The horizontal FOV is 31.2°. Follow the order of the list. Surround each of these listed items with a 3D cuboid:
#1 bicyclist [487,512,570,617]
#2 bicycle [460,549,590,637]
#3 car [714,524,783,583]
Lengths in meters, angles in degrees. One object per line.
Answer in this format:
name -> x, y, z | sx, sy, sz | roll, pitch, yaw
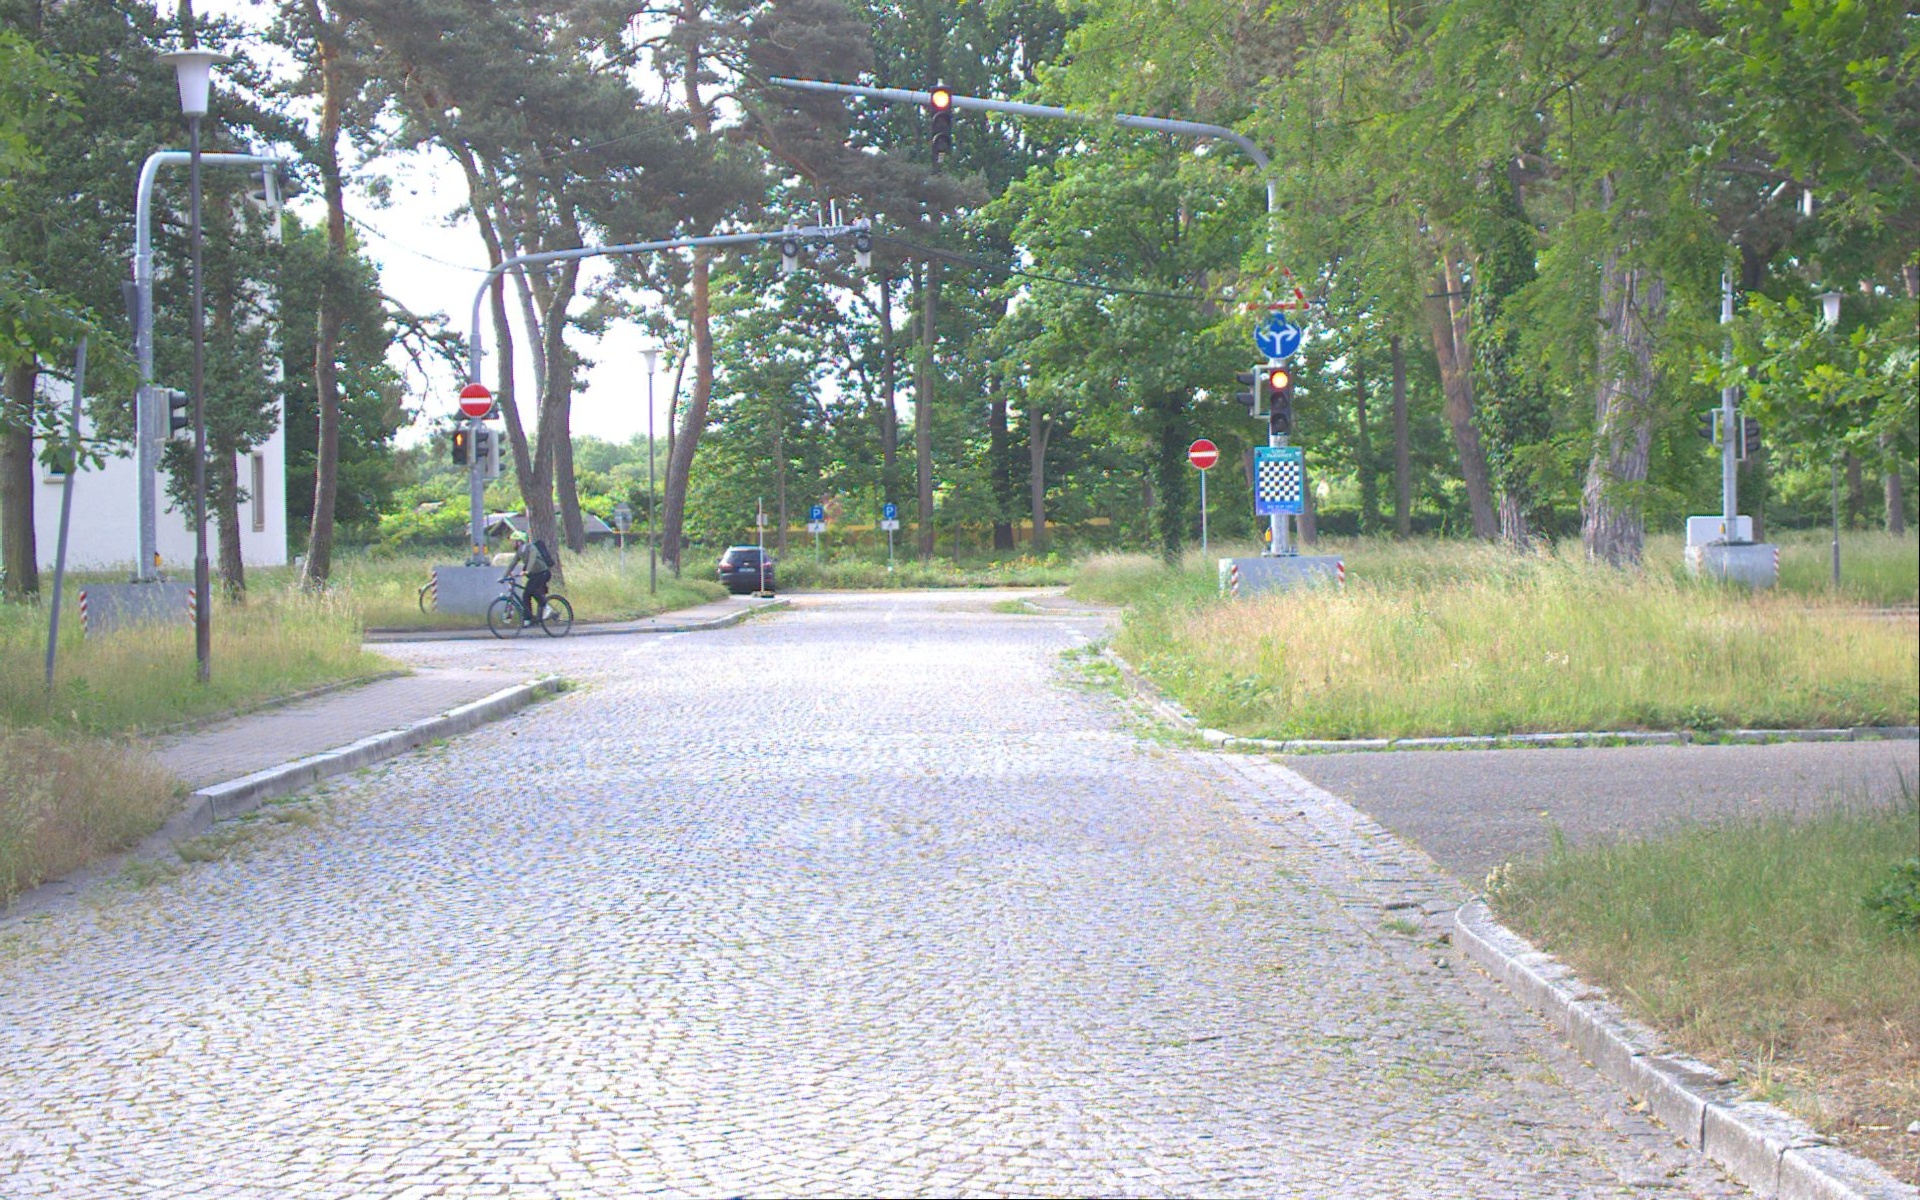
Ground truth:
bicyclist -> -7.083, -0.581, 56.416 | 0.955, 1.691, 0.922 | -1, 0, 31
bicycle -> -7.115, -0.124, 56.363 | 0.937, 1.382, 2.182 | 0, 1, 32
car -> -6.834, -1.526, 111.338 | 2.056, 1.840, 4.000 | -1, 1, -1
